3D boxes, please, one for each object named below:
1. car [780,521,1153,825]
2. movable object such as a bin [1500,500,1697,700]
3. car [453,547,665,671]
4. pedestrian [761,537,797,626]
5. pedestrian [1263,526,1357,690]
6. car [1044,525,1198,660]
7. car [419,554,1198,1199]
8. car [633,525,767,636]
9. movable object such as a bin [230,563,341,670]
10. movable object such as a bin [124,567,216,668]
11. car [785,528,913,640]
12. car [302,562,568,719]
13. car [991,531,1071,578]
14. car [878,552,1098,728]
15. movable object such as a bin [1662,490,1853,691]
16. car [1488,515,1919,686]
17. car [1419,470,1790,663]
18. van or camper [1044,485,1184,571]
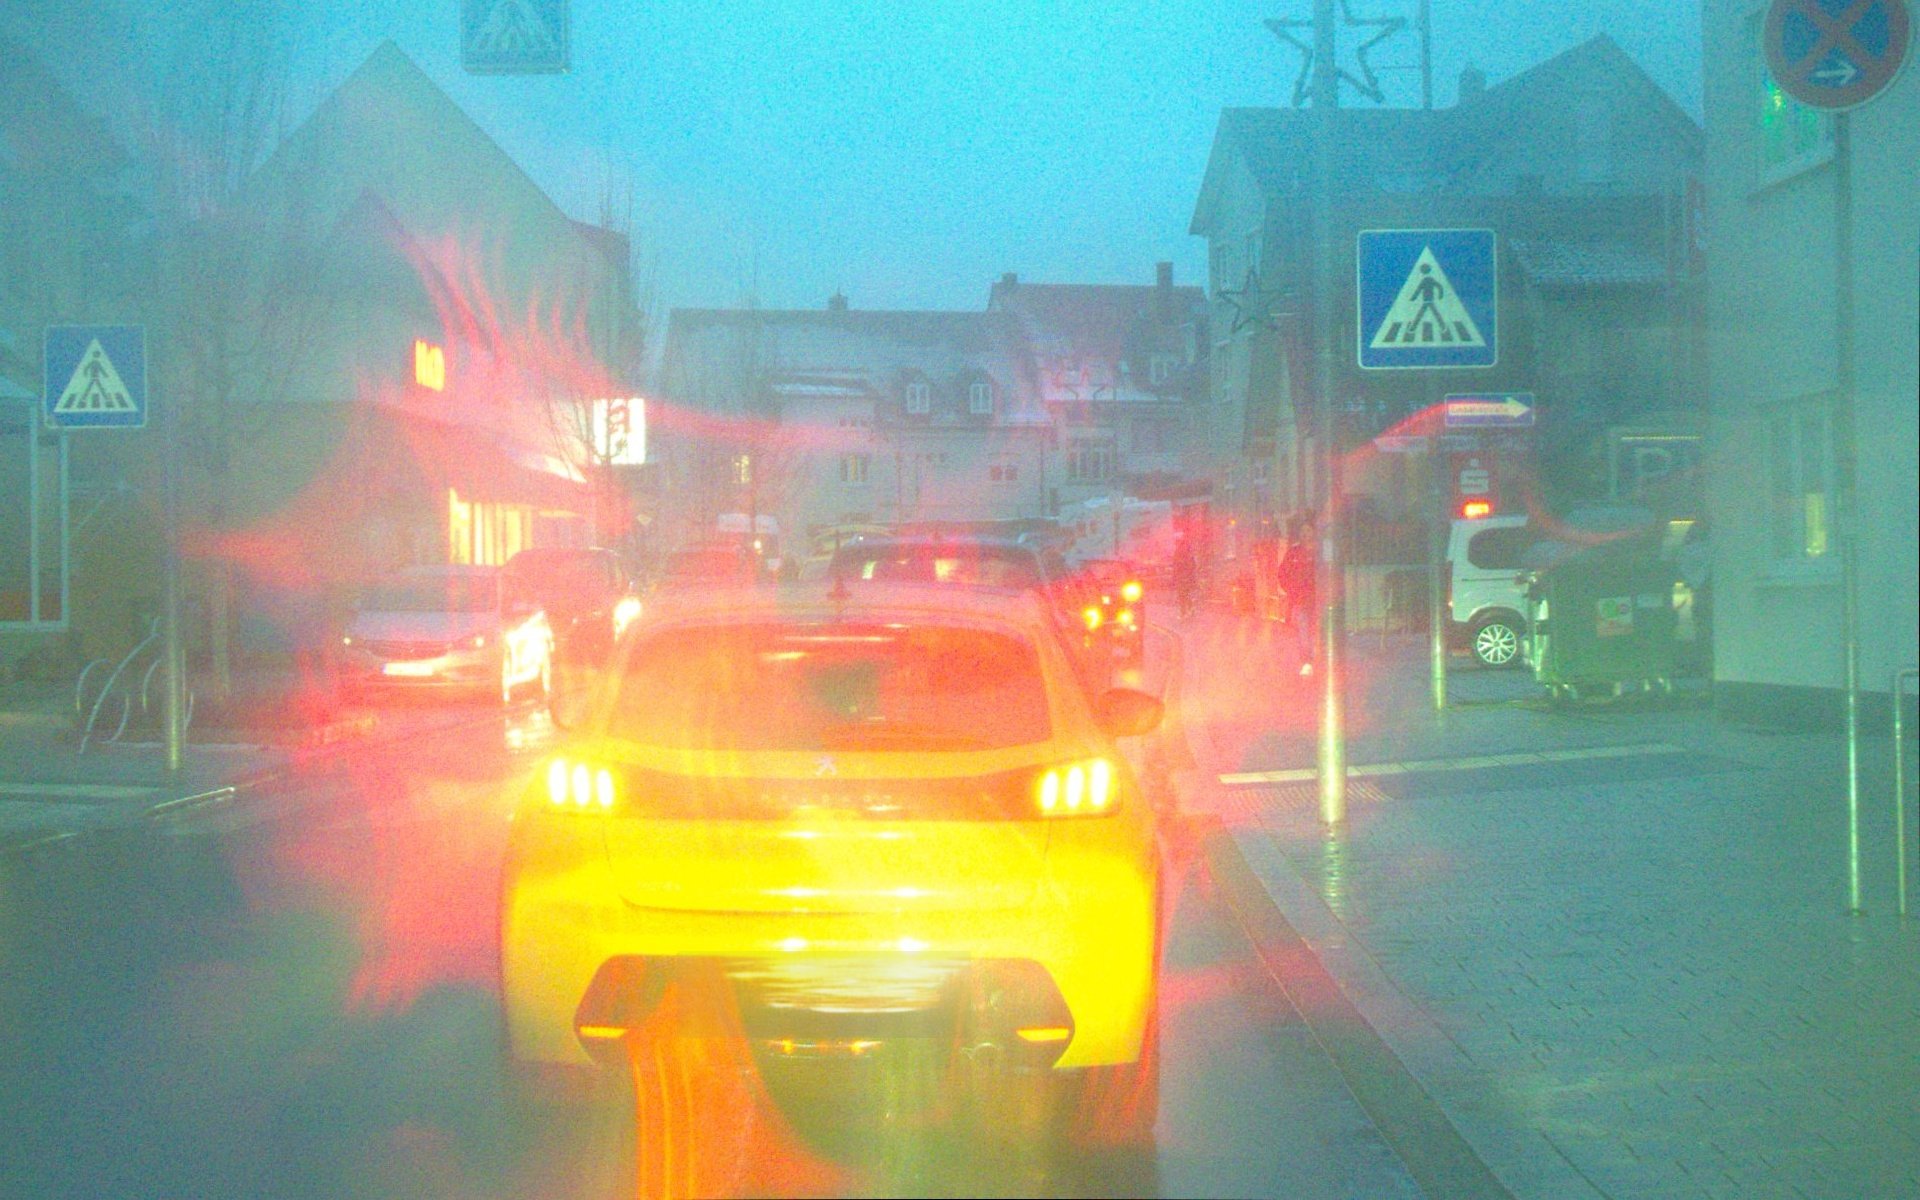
[{"bbox_3d":[-0.012,0.372,20.542,1.992,1.619,4.000,1,1,-1],"label":"car"},{"bbox_3d":[5.518,-0.011,29.802,1.393,1.638,1.262,-3,1,-1],"label":"movable object such as a bin"},{"bbox_3d":[-5.123,0.086,44.560,1.993,1.517,4.977,0,1,2],"label":"car"},{"bbox_3d":[-3.231,-0.337,61.363,0.574,1.580,0.530,0,2,2],"label":"pedestrian"},{"bbox_3d":[4.089,0.085,40.269,0.966,1.883,1.006,1,0,-1],"label":"pedestrian"},{"bbox_3d":[2.282,-0.125,49.736,1.993,1.851,4.000,1,1,0],"label":"car"},{"bbox_3d":[-0.380,0.645,10.090,1.814,1.528,4.000,1,1,-1],"label":"car"},{"bbox_3d":[-4.317,-0.365,57.719,2.085,1.786,5.024,0,1,-2],"label":"car"},{"bbox_3d":[-9.143,0.218,46.637,1.340,1.349,0.889,-3,0,-7],"label":"movable object such as a bin"},{"bbox_3d":[-10.679,0.226,46.490,1.149,1.349,0.852,0,1,-8],"label":"movable object such as a bin"},{"bbox_3d":[-1.873,-0.315,59.414,1.993,1.700,4.967,2,2,0],"label":"car"},{"bbox_3d":[-5.594,0.386,37.213,1.994,1.553,4.620,1,1,2],"label":"car"},{"bbox_3d":[2.651,-1.715,129.528,1.993,1.605,4.175,-3,0,-12],"label":"car"},{"bbox_3d":[0.207,0.346,33.420,1.993,1.583,4.000,1,1,-1],"label":"car"},{"bbox_3d":[6.879,-0.093,29.722,1.285,1.638,1.185,-3,1,-1],"label":"movable object such as a bin"},{"bbox_3d":[7.050,0.009,32.256,3.987,1.481,1.912,-1,0,5],"label":"car"},{"bbox_3d":[7.529,-0.390,40.300,4.092,2.042,1.999,-2,1,10],"label":"car"},{"bbox_3d":[5.776,-2.702,130.182,2.650,3.037,6.736,-4,2,-21],"label":"van or camper"}]
